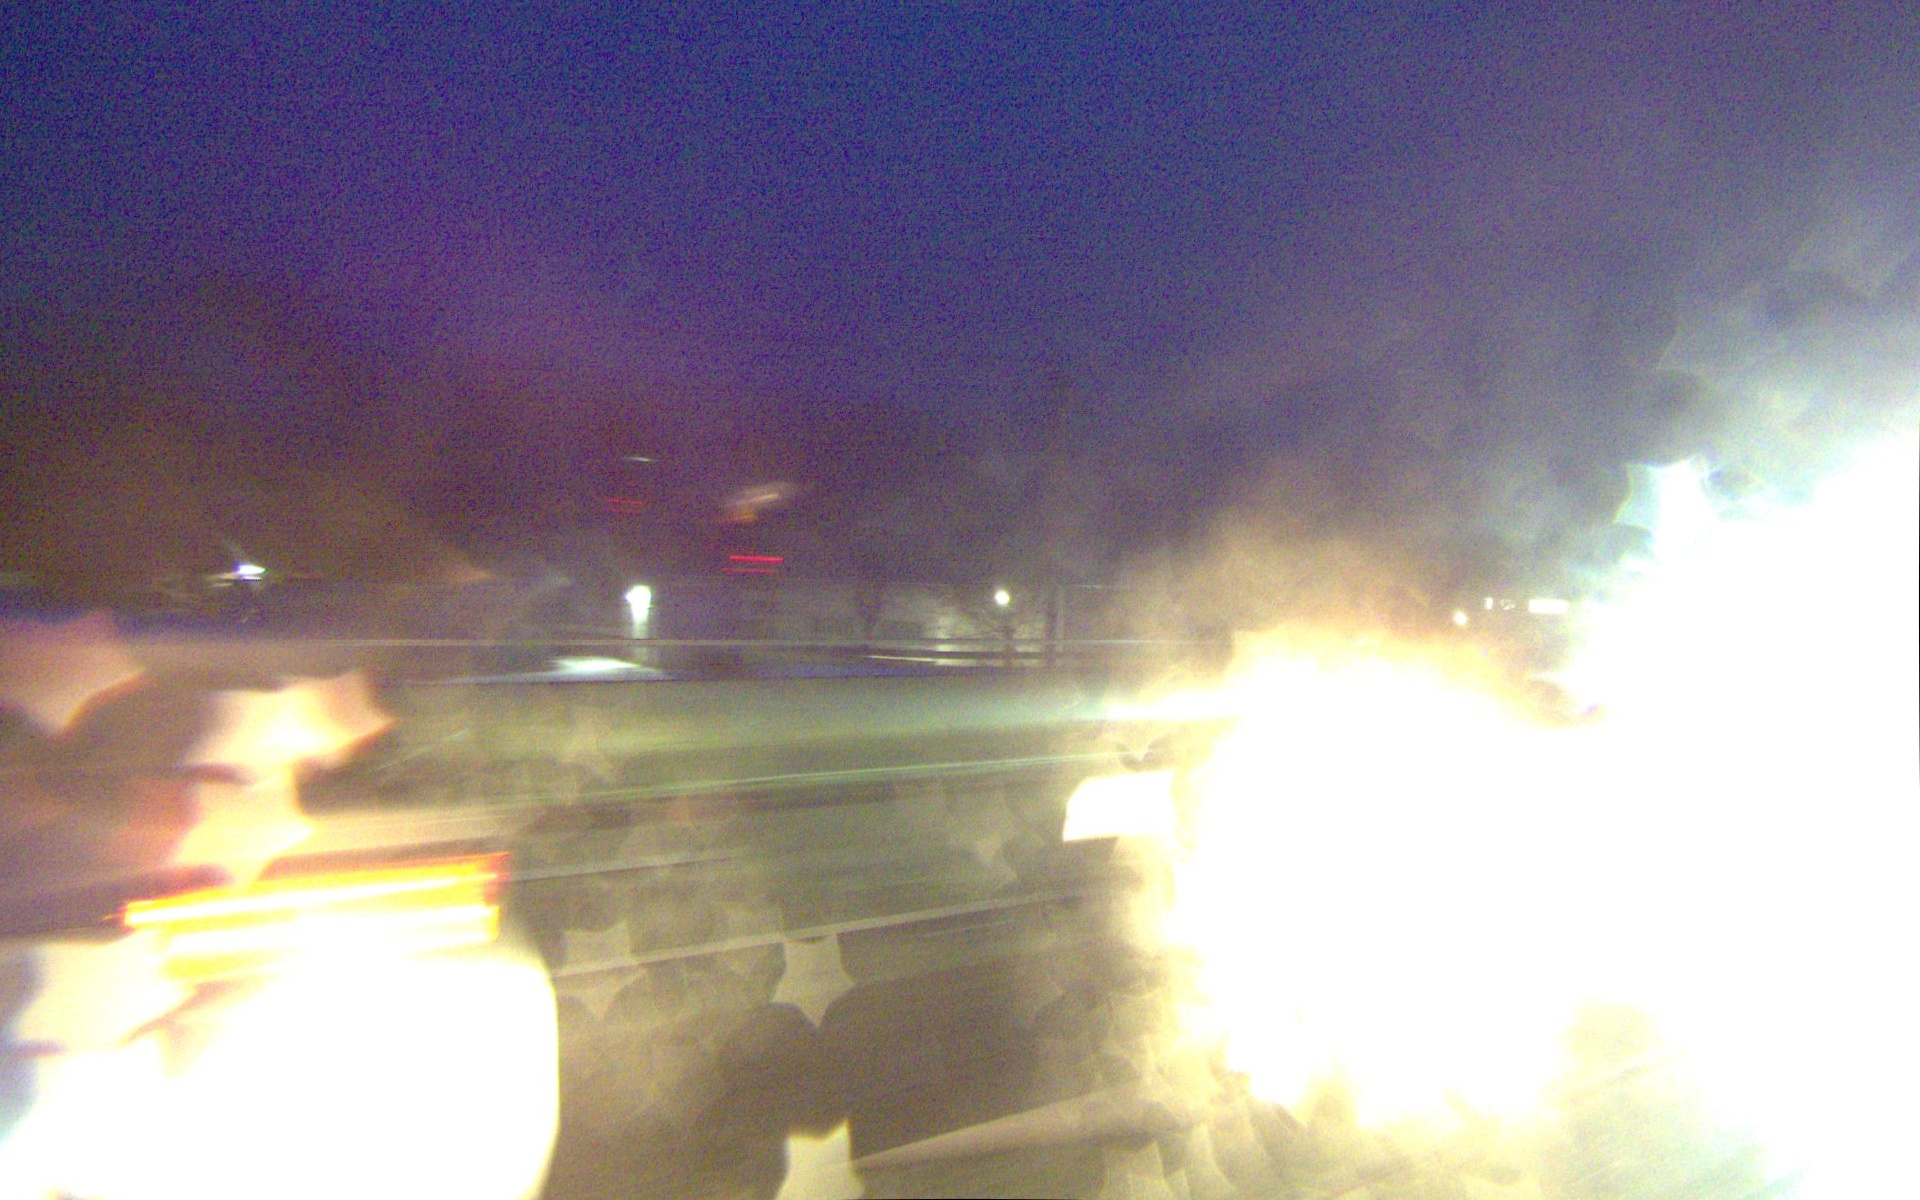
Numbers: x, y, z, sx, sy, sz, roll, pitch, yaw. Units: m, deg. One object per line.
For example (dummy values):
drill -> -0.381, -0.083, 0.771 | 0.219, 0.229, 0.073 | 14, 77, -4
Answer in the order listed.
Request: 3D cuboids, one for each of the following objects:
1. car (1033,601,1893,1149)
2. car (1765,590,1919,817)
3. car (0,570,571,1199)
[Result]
car -> 2.360, 0.792, 4.451 | 3.840, 1.492, 1.614 | 1, 0, -31
car -> 9.024, 0.812, 8.613 | 4.392, 1.691, 1.835 | 1, 0, -30
car -> -2.683, 0.679, 1.588 | 3.595, 1.492, 1.659 | 1, 0, -33
